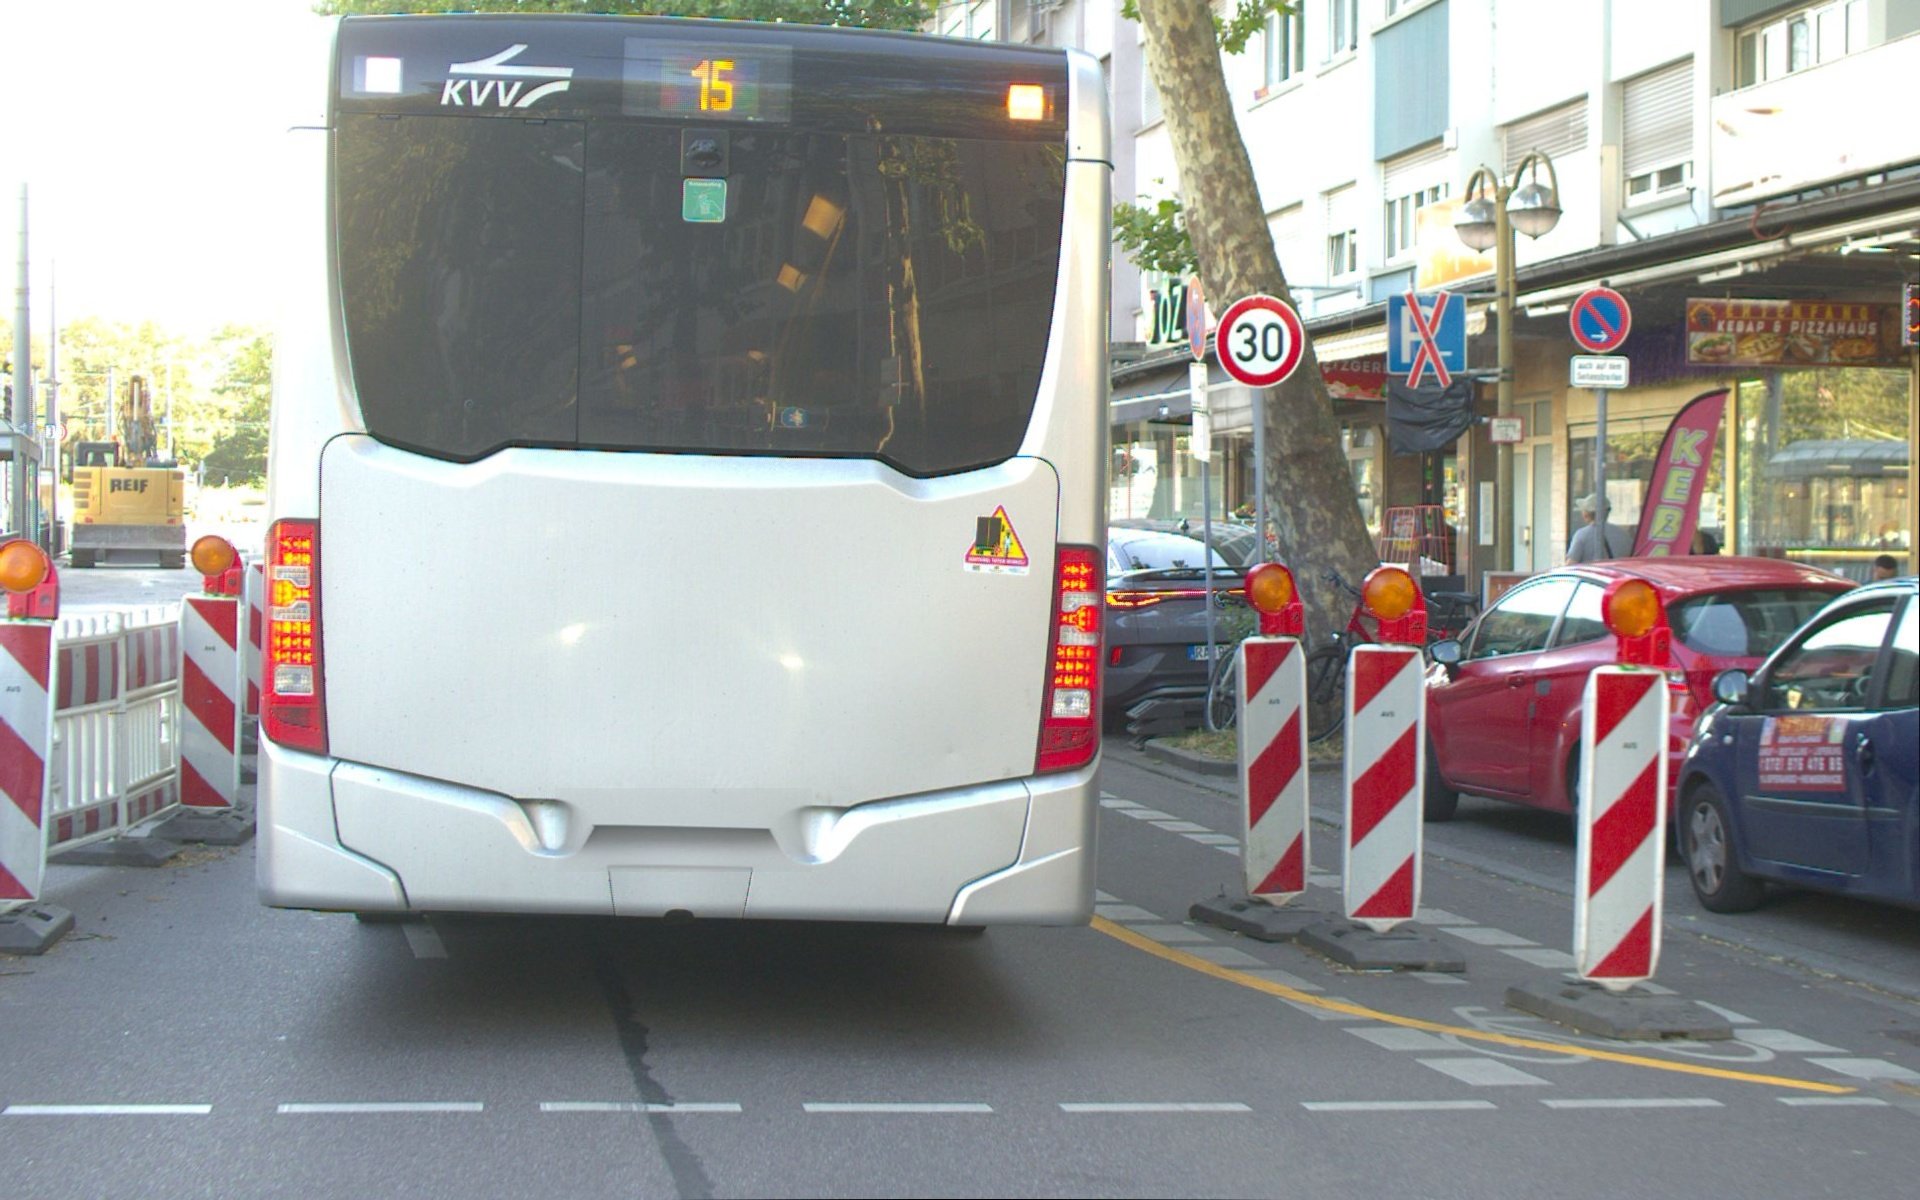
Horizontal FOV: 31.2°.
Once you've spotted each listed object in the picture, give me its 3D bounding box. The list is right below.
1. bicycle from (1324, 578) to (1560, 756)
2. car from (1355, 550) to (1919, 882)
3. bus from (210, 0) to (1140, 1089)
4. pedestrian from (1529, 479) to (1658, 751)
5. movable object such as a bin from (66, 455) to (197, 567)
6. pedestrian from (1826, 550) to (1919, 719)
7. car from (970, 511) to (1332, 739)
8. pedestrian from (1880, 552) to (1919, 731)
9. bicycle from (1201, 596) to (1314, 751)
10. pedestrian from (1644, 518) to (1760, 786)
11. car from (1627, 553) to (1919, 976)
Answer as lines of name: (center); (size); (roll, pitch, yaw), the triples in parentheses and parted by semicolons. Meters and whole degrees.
bicycle: (3.128, 0.436, 22.354); (1.460, 1.063, 0.295); (-3, 5, 4)
car: (3.472, 0.502, 17.782); (1.666, 1.424, 3.849); (-2, 2, -12)
bus: (-1.317, -0.290, 15.050); (2.607, 3.159, 10.294); (1, 1, -6)
pedestrian: (4.744, 0.105, 25.782); (0.690, 2.007, 0.696); (0, 1, -15)
movable object such as a bin: (-18.854, -2.032, 78.383); (2.806, 2.453, 4.001); (0, 1, -12)
pedestrian: (6.832, 0.244, 25.391); (0.677, 1.199, 0.704); (-2, 1, 3)
car: (1.403, 0.120, 27.095); (1.739, 1.592, 4.300); (-2, 2, -12)
pedestrian: (6.939, 0.278, 24.359); (0.615, 1.239, 0.711); (-2, 1, 2)
bicycle: (1.985, 0.478, 23.017); (0.294, 0.924, 1.131); (-4, 5, -18)
pedestrian: (5.630, 0.384, 26.107); (0.612, 2.007, 0.696); (0, 1, -11)
car: (4.098, 0.587, 13.630); (1.618, 1.461, 3.606); (-2, 2, -10)
